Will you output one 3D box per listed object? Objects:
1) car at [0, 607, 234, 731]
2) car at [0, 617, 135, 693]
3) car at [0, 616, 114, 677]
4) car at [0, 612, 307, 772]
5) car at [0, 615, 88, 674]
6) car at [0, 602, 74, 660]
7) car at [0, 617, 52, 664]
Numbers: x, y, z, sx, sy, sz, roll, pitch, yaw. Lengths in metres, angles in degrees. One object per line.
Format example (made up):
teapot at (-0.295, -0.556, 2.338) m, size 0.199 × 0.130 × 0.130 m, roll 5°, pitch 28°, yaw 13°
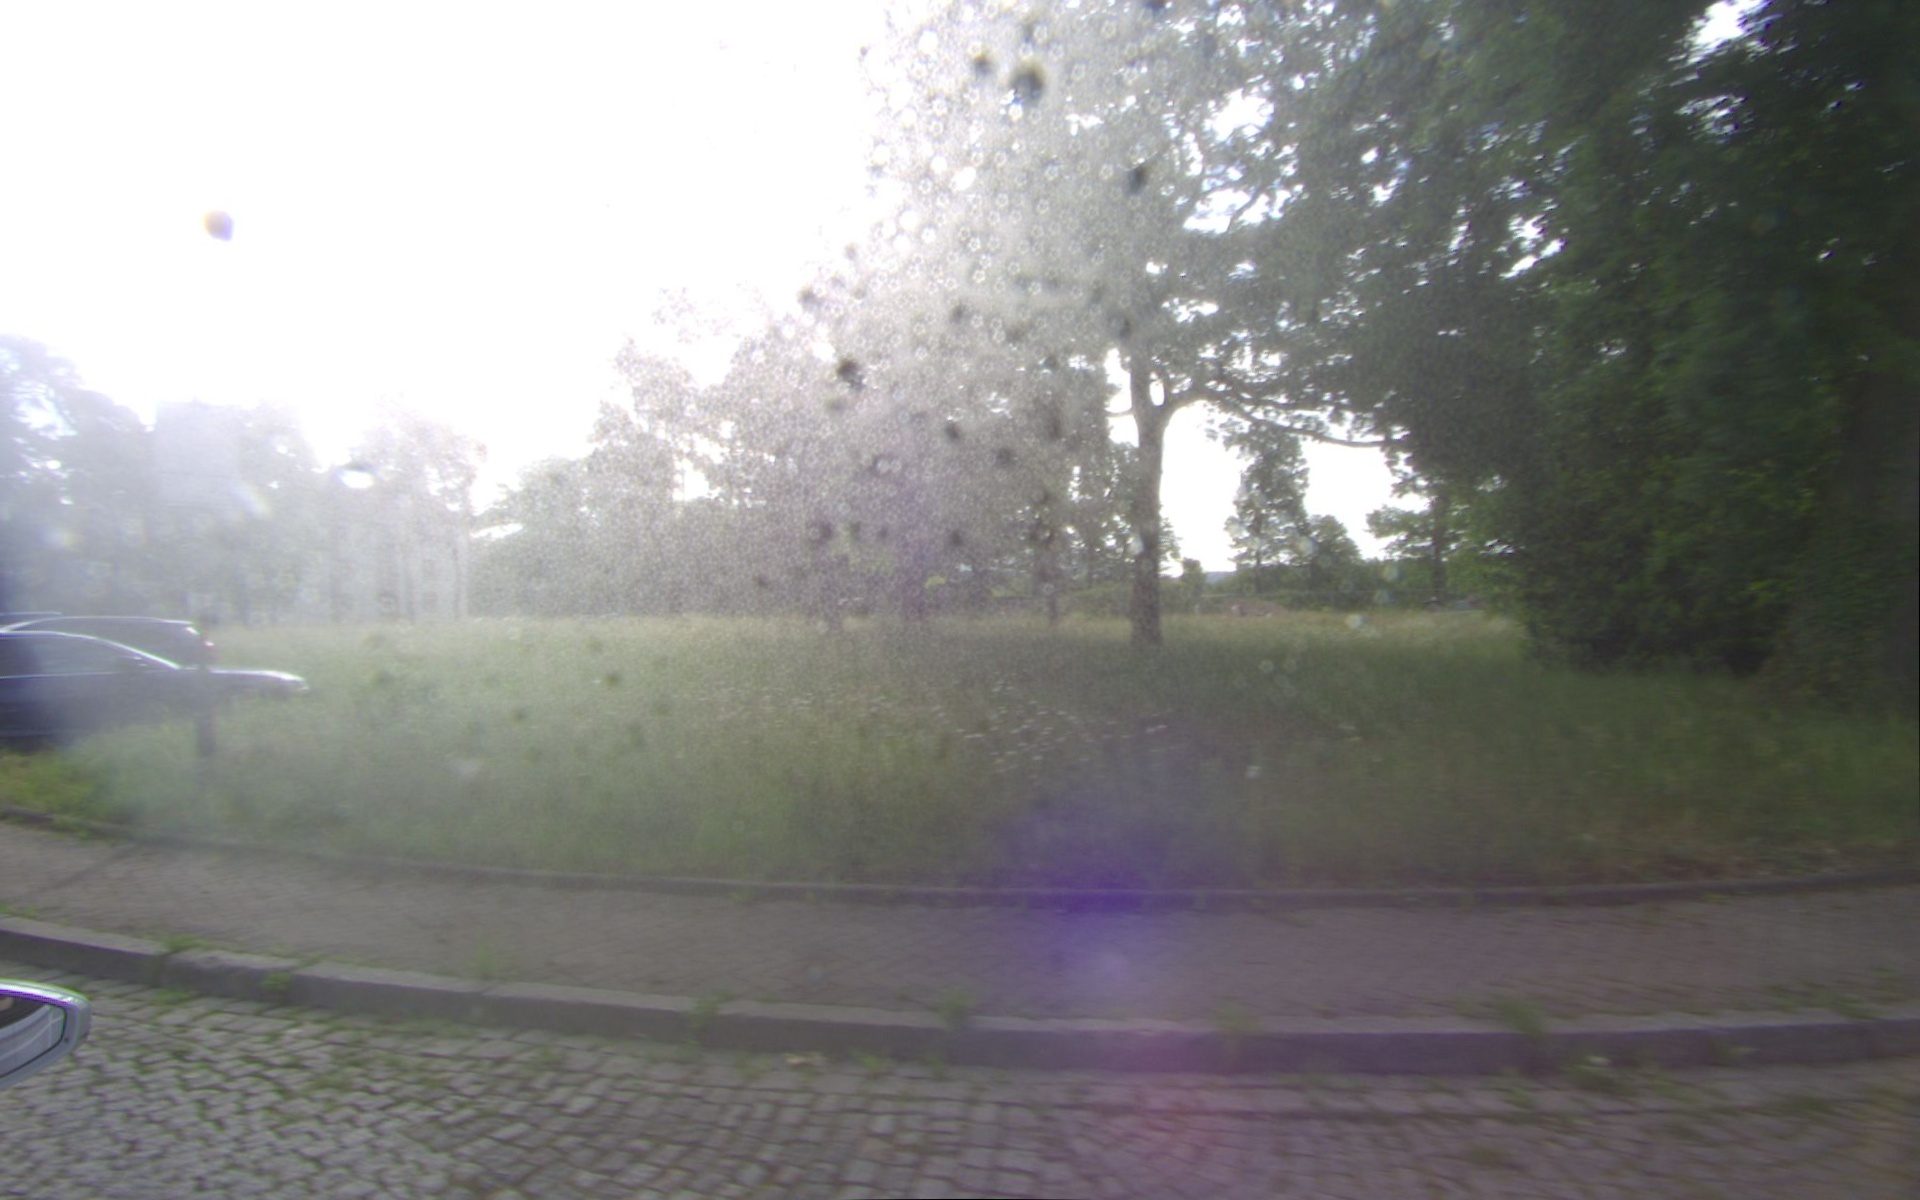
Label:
car at (-13.073, 0.943, 14.290) m, size 1.771 × 1.594 × 4.114 m, roll 0°, pitch 1°, yaw 43°
car at (-20.306, 1.184, 21.448) m, size 1.654 × 1.498 × 3.860 m, roll -1°, pitch 1°, yaw 43°
car at (-25.597, 1.276, 27.148) m, size 1.690 × 1.540 × 3.916 m, roll -2°, pitch 0°, yaw 44°
car at (-9.792, 0.955, 10.783) m, size 4.398 × 1.499 × 1.667 m, roll -2°, pitch 1°, yaw -43°
car at (-27.642, 1.272, 28.649) m, size 1.801 × 1.624 × 3.886 m, roll -1°, pitch 0°, yaw 41°
car at (-34.121, 1.138, 34.731) m, size 2.138 × 1.892 × 4.792 m, roll 0°, pitch 4°, yaw 42°
car at (-32.567, 1.416, 32.877) m, size 1.723 × 1.412 × 3.896 m, roll 0°, pitch 3°, yaw 42°
